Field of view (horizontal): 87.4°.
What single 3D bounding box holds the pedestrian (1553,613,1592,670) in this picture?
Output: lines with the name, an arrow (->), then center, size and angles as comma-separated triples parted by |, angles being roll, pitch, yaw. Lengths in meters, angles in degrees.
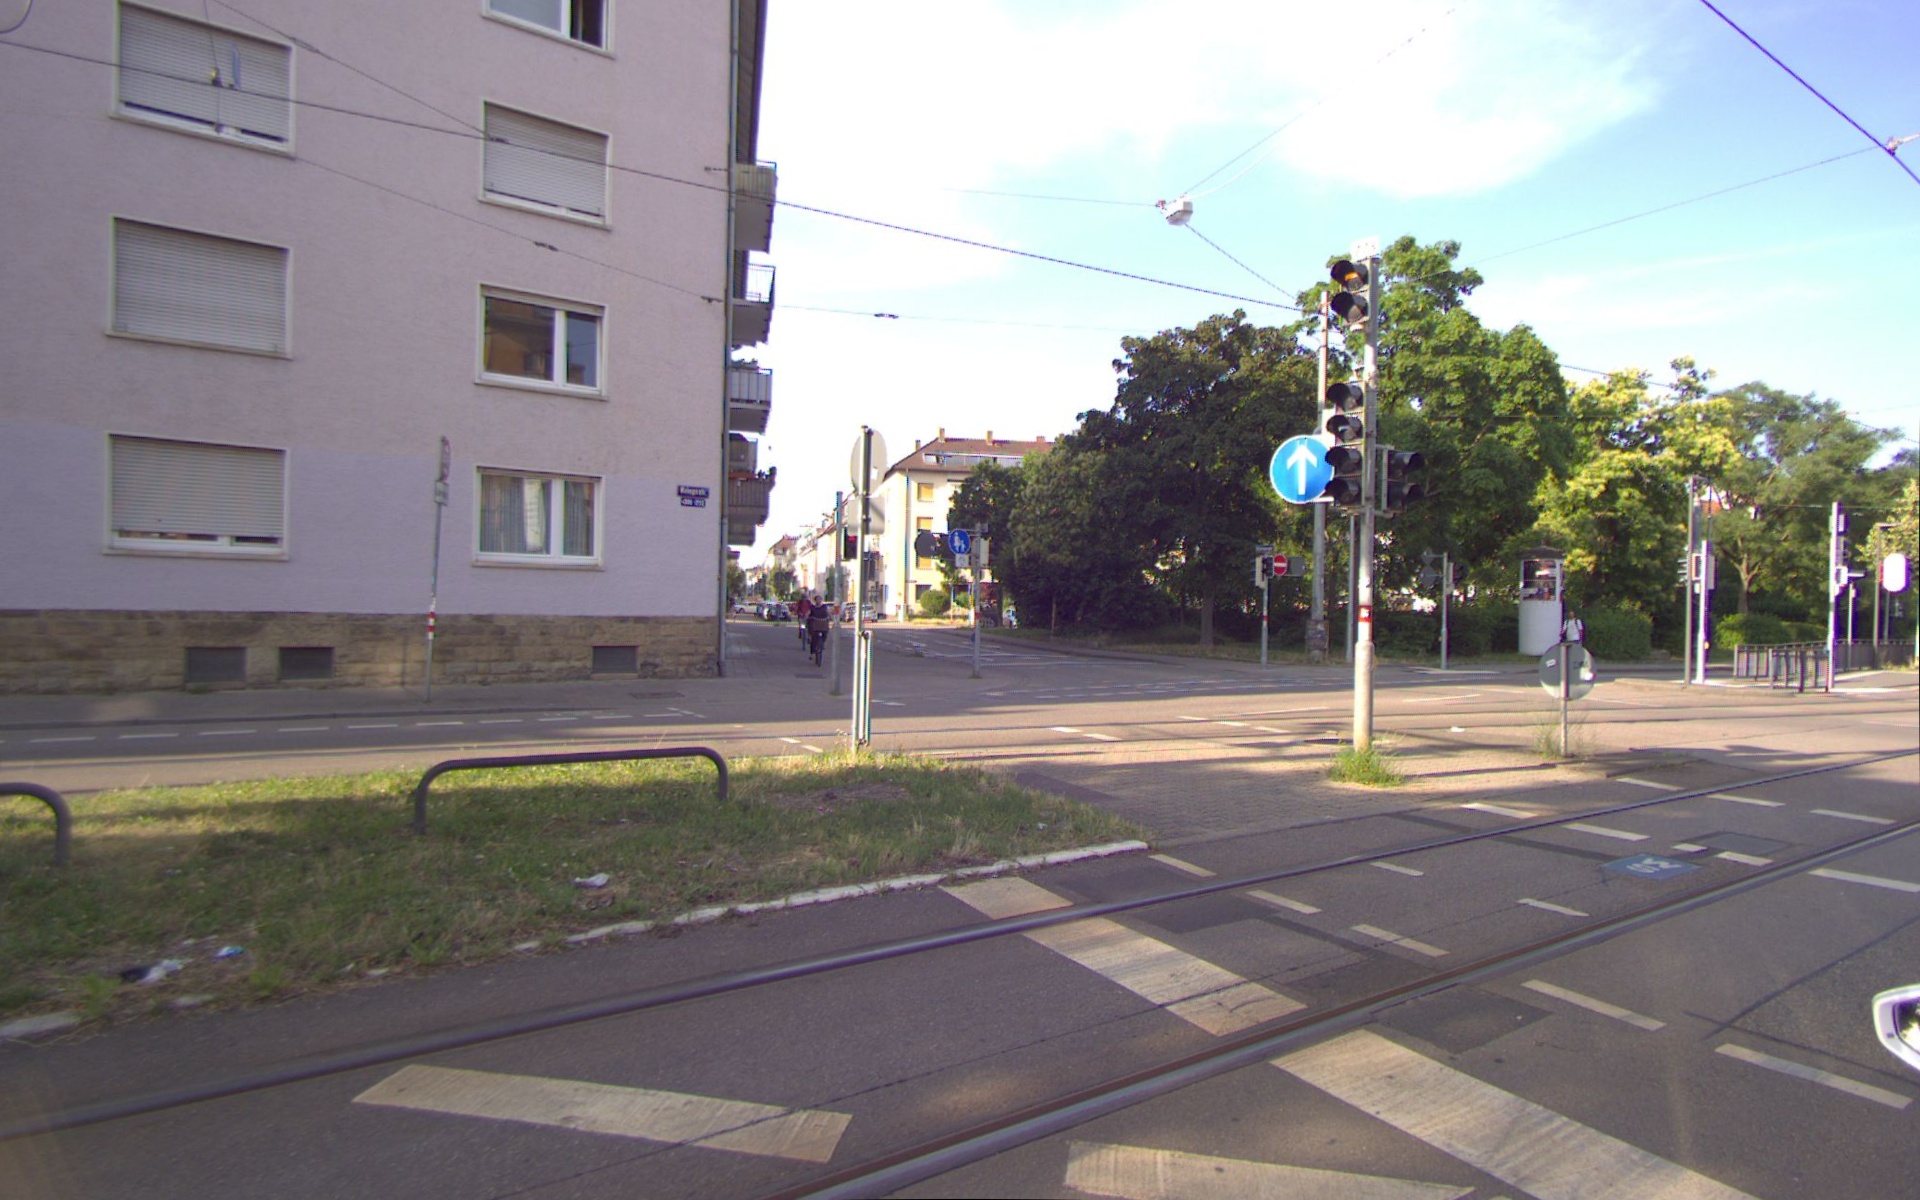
pedestrian -> 21.432, 1.435, 35.134 | 0.992, 1.935, 0.704 | 2, 1, 44

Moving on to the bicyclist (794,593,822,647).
bicyclist -> -4.815, 0.629, 31.830 | 0.800, 1.664, 0.851 | 1, 1, -13

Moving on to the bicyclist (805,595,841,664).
bicyclist -> -3.362, 0.708, 24.565 | 0.781, 1.664, 0.771 | 1, 0, -13

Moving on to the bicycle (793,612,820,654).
bicycle -> -4.881, 1.024, 31.791 | 0.722, 1.219, 1.976 | 1, 1, -12

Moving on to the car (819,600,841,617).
car -> -14.722, 0.980, 113.584 | 1.966, 1.748, 3.989 | 1, 1, -13

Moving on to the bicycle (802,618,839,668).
bicycle -> -3.436, 1.031, 24.607 | 0.722, 1.125, 1.912 | 1, 0, -13

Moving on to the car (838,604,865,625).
car -> -9.934, 1.327, 91.627 | 1.966, 1.748, 3.989 | 1, 1, -13

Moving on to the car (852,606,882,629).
car -> -7.780, 1.464, 83.684 | 1.966, 1.748, 3.989 | 1, 1, -13

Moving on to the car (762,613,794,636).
car -> -14.949, 1.993, 82.463 | 1.970, 1.748, 3.981 | 1, 1, -20
